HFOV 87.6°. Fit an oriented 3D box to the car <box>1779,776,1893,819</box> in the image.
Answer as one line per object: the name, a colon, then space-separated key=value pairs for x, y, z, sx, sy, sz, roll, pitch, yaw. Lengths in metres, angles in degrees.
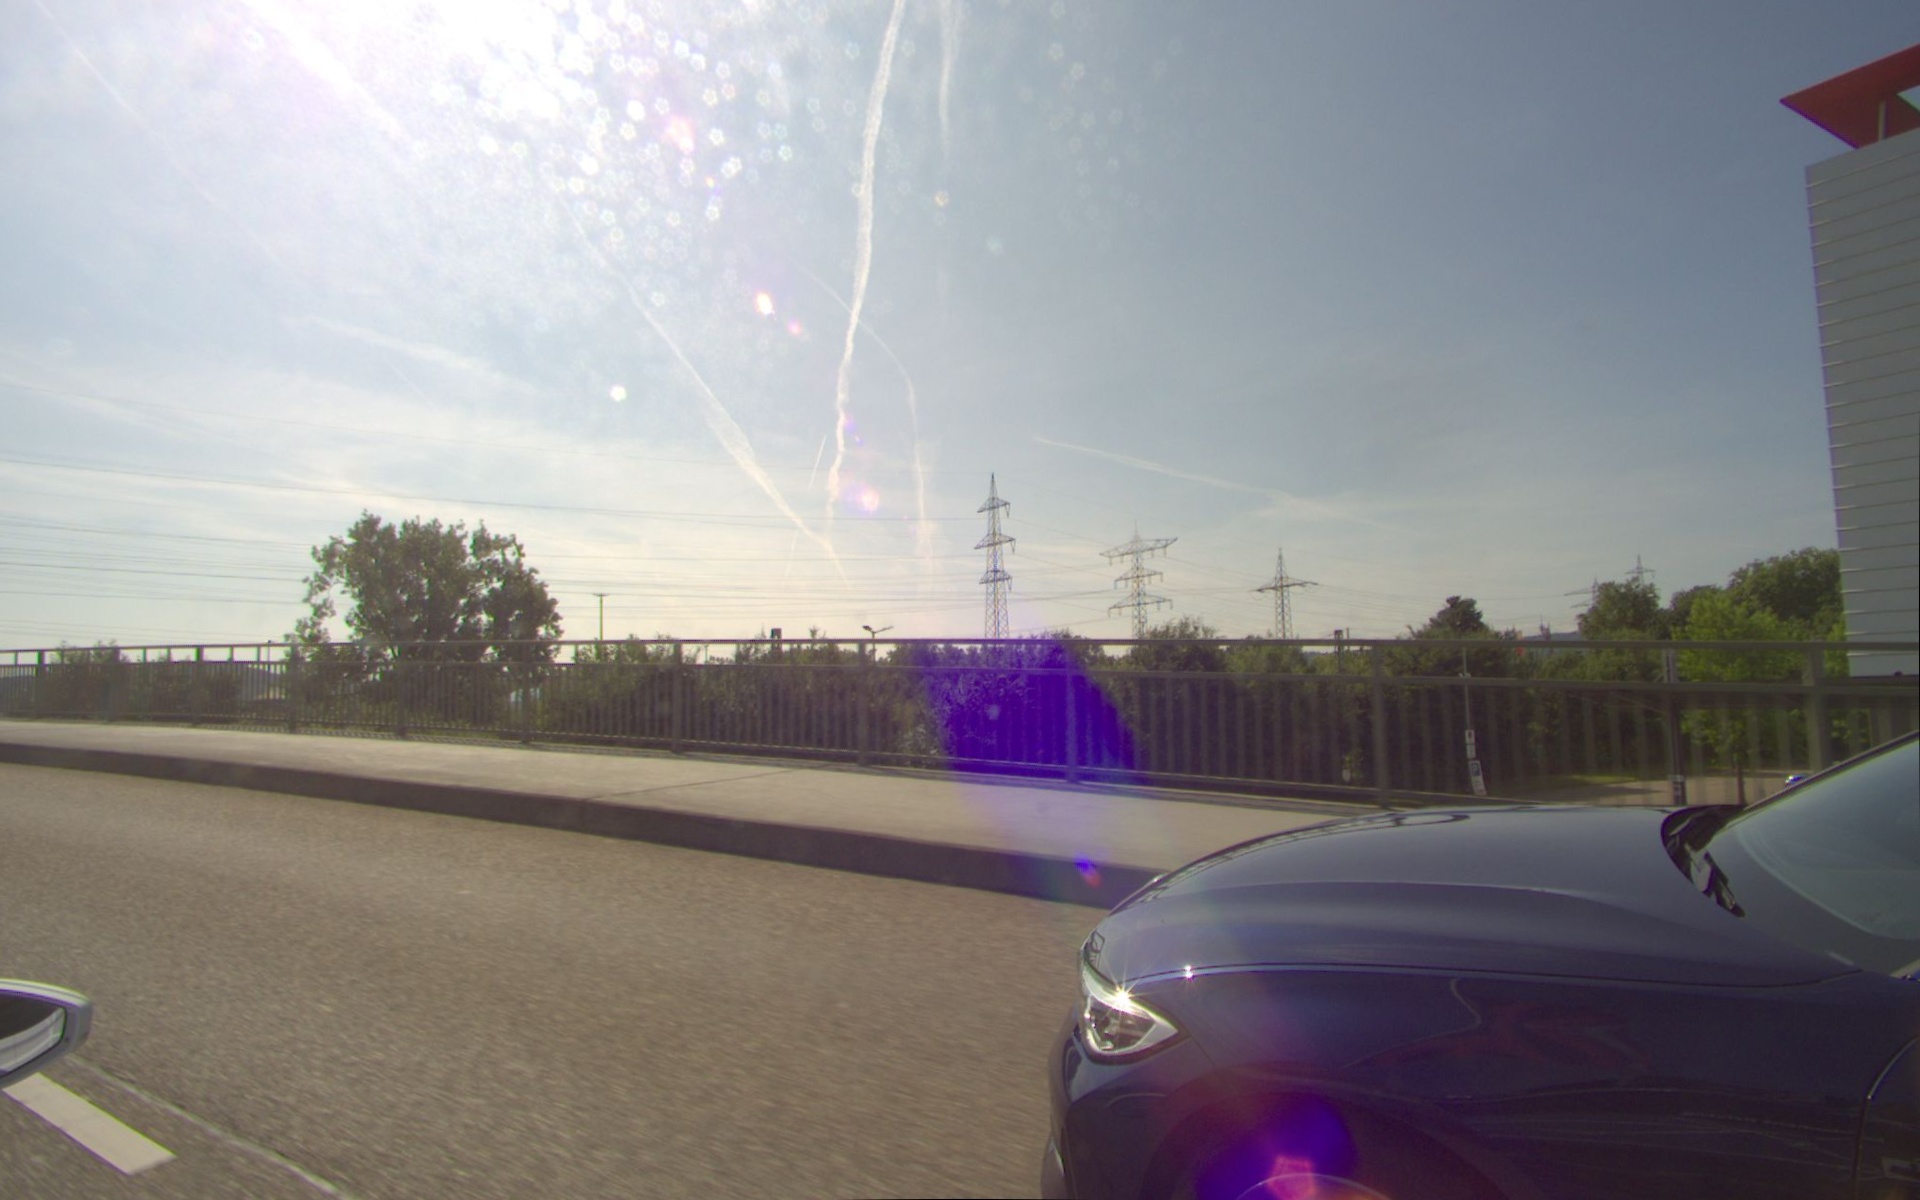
car: x=43.484 y=9.791 z=49.799 sx=1.782 sy=1.656 sz=3.810 roll=1 pitch=-6 yaw=-30

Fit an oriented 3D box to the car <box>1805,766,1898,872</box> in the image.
car: x=31.455 y=7.595 z=35.392 sx=2.110 sy=2.961 sz=5.967 roll=-5 pitch=-7 yaw=41

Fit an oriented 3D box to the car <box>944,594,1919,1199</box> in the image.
car: x=2.326 y=0.746 z=1.542 sx=4.458 sy=1.500 sz=1.785 roll=-5 pitch=-6 yaw=32
